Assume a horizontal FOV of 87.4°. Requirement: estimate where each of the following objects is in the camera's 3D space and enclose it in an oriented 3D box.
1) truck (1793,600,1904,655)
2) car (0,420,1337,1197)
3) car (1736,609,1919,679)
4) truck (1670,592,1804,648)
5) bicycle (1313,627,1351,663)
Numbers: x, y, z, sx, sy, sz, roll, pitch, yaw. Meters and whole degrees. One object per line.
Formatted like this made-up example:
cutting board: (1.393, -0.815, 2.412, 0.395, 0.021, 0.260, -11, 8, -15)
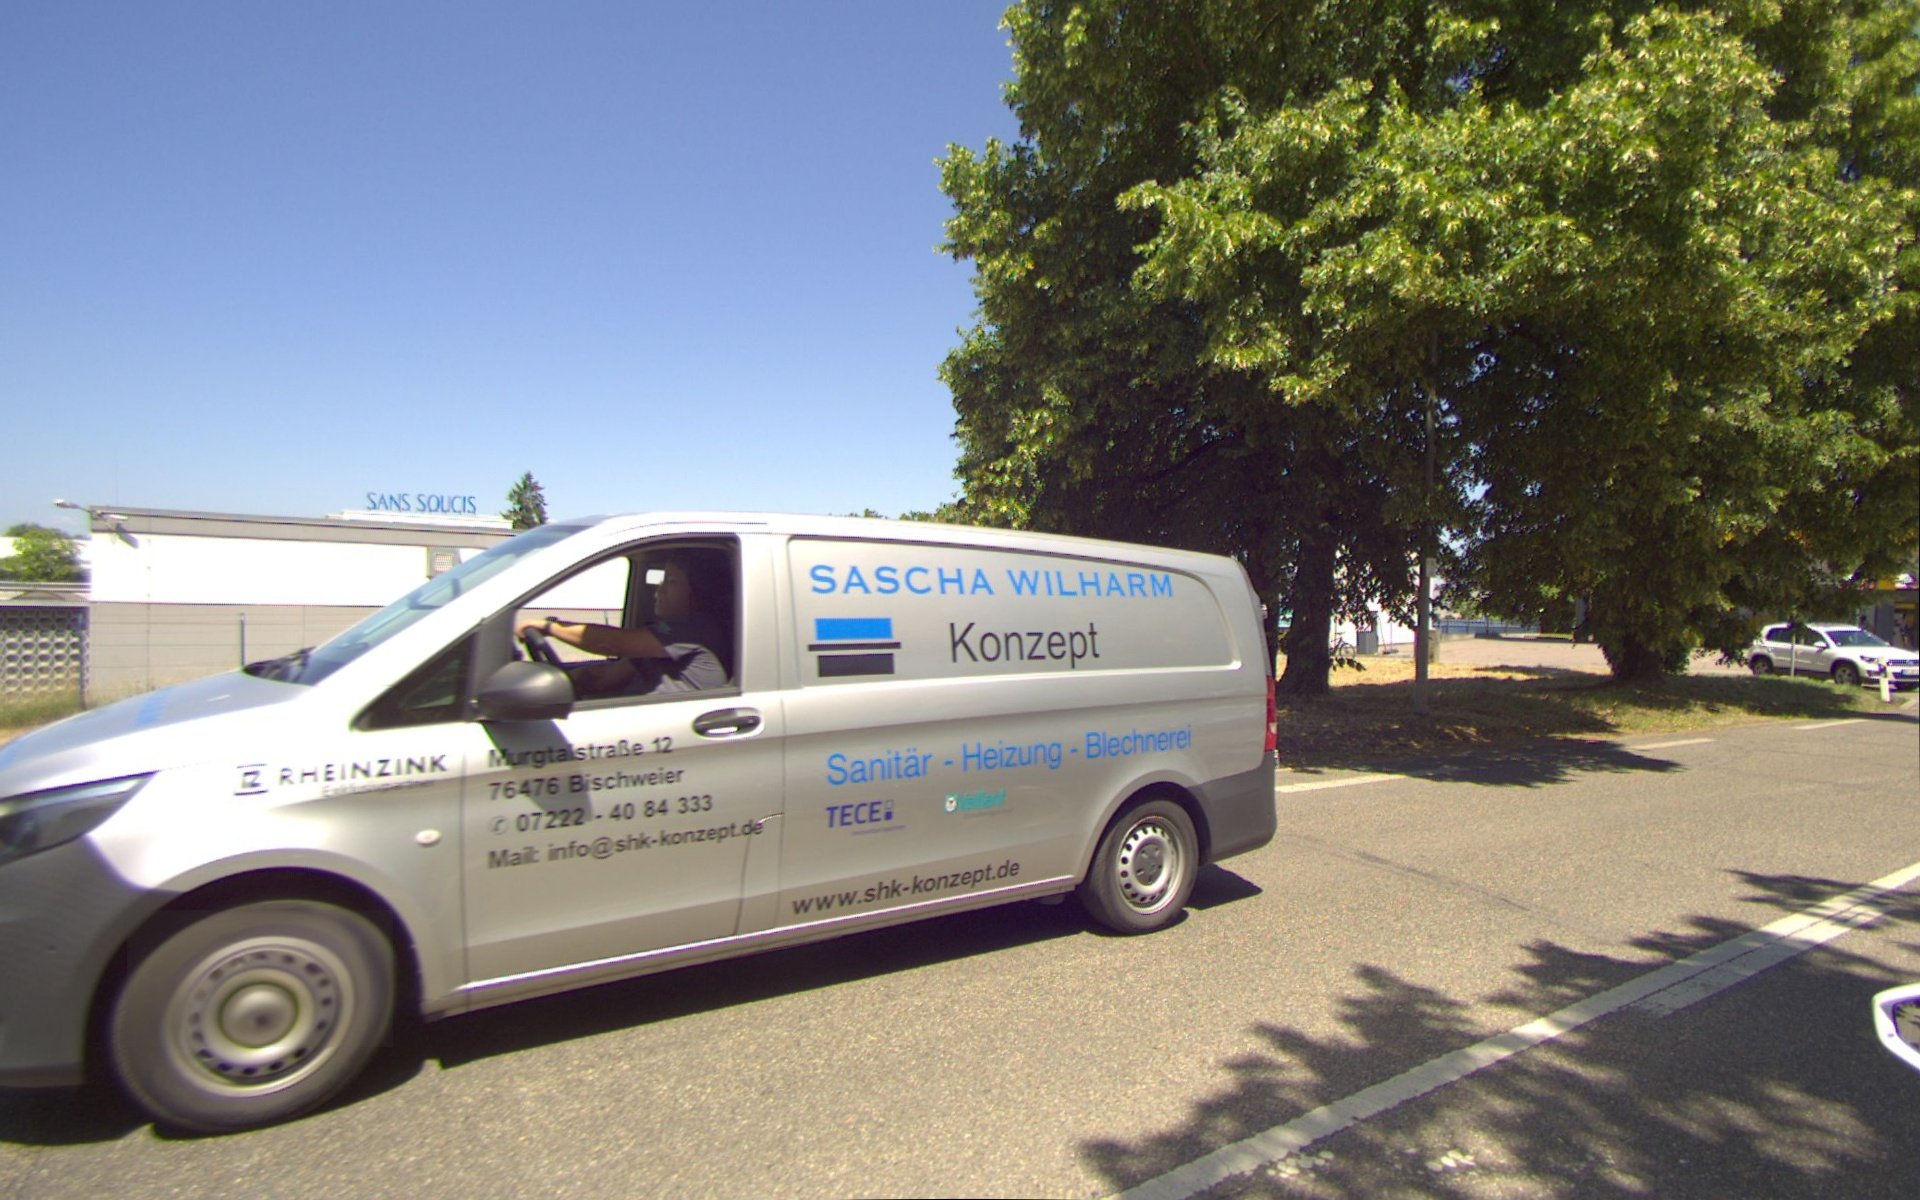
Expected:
truck: (45.481, 1.441, 51.375, 6.653, 2.633, 2.223, 2, 0, -30)
car: (-0.731, 0.539, 4.567, 5.243, 1.858, 1.866, 1, 0, -34)
car: (23.633, 1.131, 27.177, 1.937, 1.695, 4.247, 1, 0, -1)
truck: (44.007, 1.107, 56.901, 6.624, 2.952, 2.638, 2, 0, -17)
bicycle: (14.741, 1.788, 39.830, 0.390, 1.367, 1.531, 1, -1, -26)
